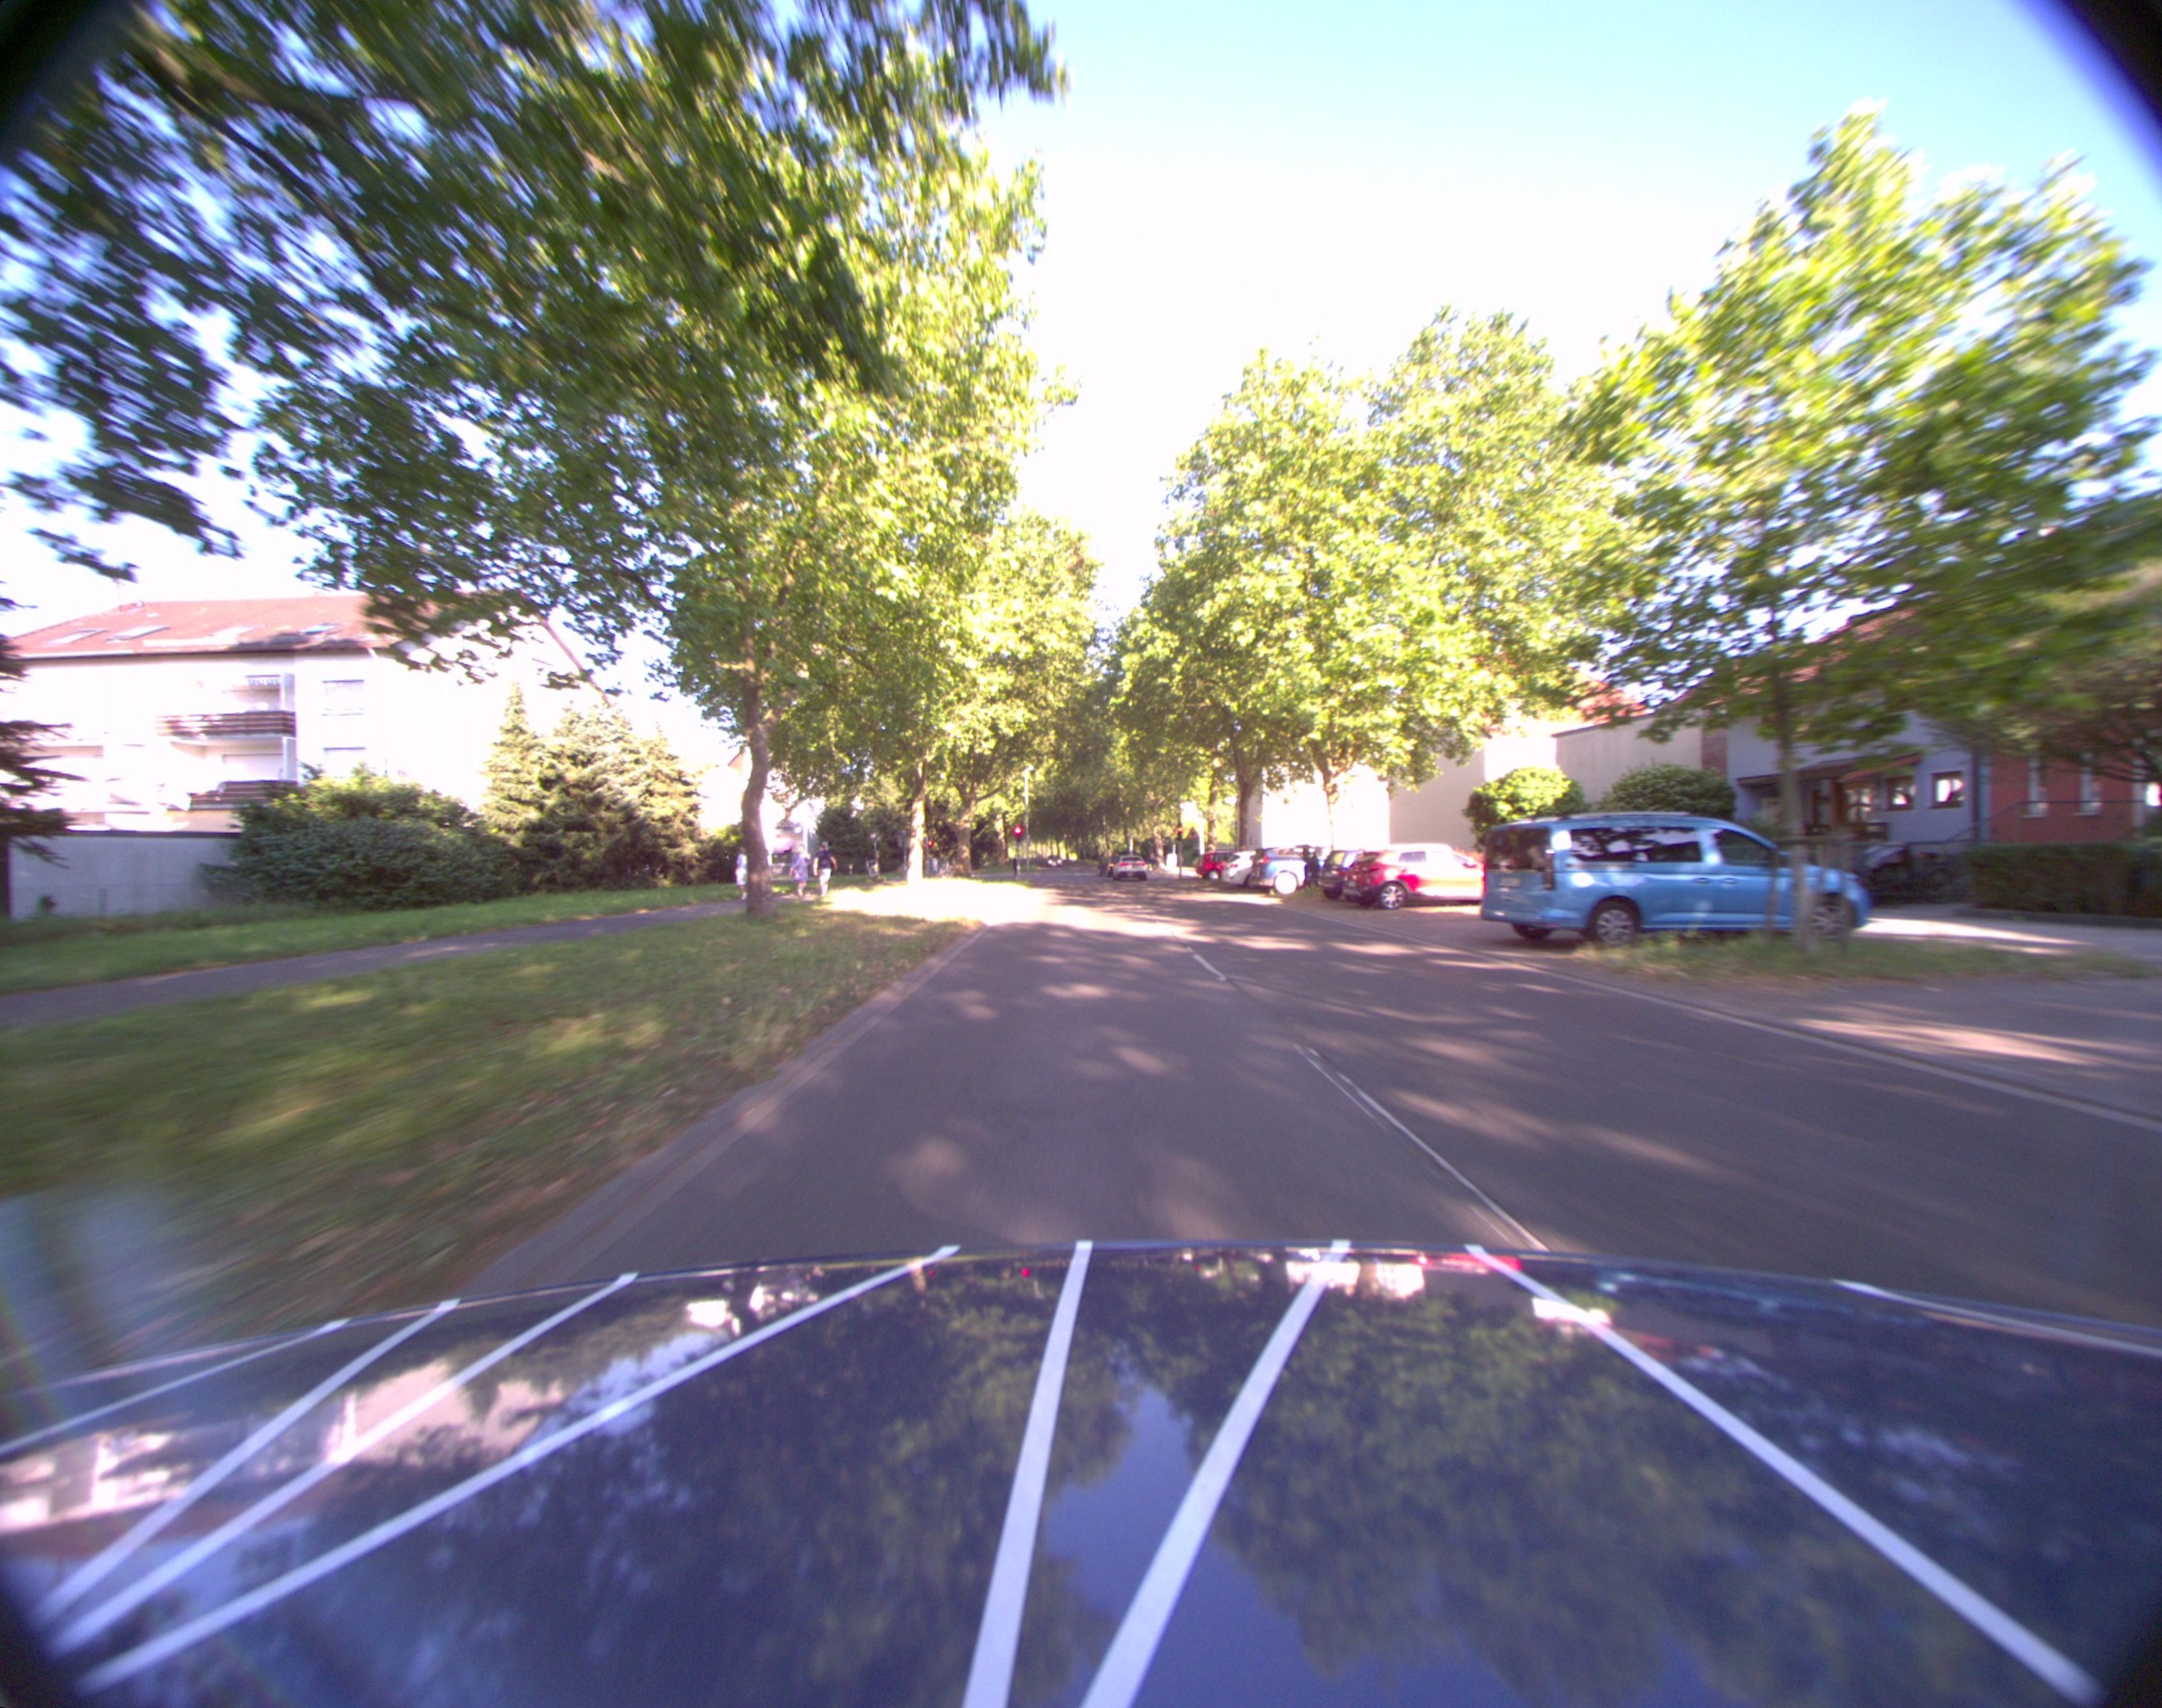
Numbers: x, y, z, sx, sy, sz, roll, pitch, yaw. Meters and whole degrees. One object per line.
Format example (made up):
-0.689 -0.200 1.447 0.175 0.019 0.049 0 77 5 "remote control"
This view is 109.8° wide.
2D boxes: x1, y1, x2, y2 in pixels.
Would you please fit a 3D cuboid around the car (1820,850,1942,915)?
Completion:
14.892 0.525 14.166 1.518 1.110 0.700 -3 1 -1 "car"

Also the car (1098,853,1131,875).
2.293 0.660 52.744 1.731 1.455 4.066 -1 1 -5 "car"

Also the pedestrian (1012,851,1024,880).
-3.681 0.671 44.323 0.637 1.709 0.825 1 0 -9 "pedestrian"

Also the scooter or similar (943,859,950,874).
-11.381 1.059 64.190 0.383 1.189 1.254 -2 0 -4 "scooter or similar"

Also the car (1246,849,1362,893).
8.202 0.603 28.149 3.768 1.475 1.754 -1 1 -2 "car"

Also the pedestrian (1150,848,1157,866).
6.306 0.263 65.903 0.510 1.523 1.033 -1 3 0 "pedestrian"

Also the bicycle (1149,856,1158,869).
6.309 0.746 66.114 0.510 1.036 2.152 1 2 1 "bicycle"

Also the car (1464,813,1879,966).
8.166 0.443 10.810 4.398 1.813 1.995 -2 1 -3 "car"

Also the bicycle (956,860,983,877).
-6.748 0.898 45.886 1.715 1.028 0.447 -1 -2 33 "bicycle"

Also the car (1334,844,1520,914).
8.282 0.567 18.411 3.651 1.508 1.781 -2 1 -1 "car"

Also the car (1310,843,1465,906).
8.388 0.523 20.954 3.522 1.508 1.726 -2 1 -6 "car"

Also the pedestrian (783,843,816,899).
-9.443 0.563 25.530 0.756 1.837 0.802 -1 1 2 "pedestrian"

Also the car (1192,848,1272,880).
8.017 0.520 40.553 3.775 1.526 1.831 -2 1 -4 "car"

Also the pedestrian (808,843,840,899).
-8.590 0.573 25.420 0.763 1.835 0.787 -1 1 2 "pedestrian"

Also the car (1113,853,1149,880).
2.877 0.701 44.698 1.721 1.492 4.093 -2 1 -1 "car"

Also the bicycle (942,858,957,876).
-7.781 0.778 44.930 0.447 1.076 2.004 1 -1 -22 "bicycle"

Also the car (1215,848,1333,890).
7.718 0.581 30.610 4.173 1.492 1.875 -2 1 -3 "car"

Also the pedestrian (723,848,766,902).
-10.568 0.646 23.853 0.780 1.640 0.940 0 1 21 "pedestrian"

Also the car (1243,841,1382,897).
7.712 0.474 25.564 4.102 1.706 1.831 -2 1 -2 "car"
